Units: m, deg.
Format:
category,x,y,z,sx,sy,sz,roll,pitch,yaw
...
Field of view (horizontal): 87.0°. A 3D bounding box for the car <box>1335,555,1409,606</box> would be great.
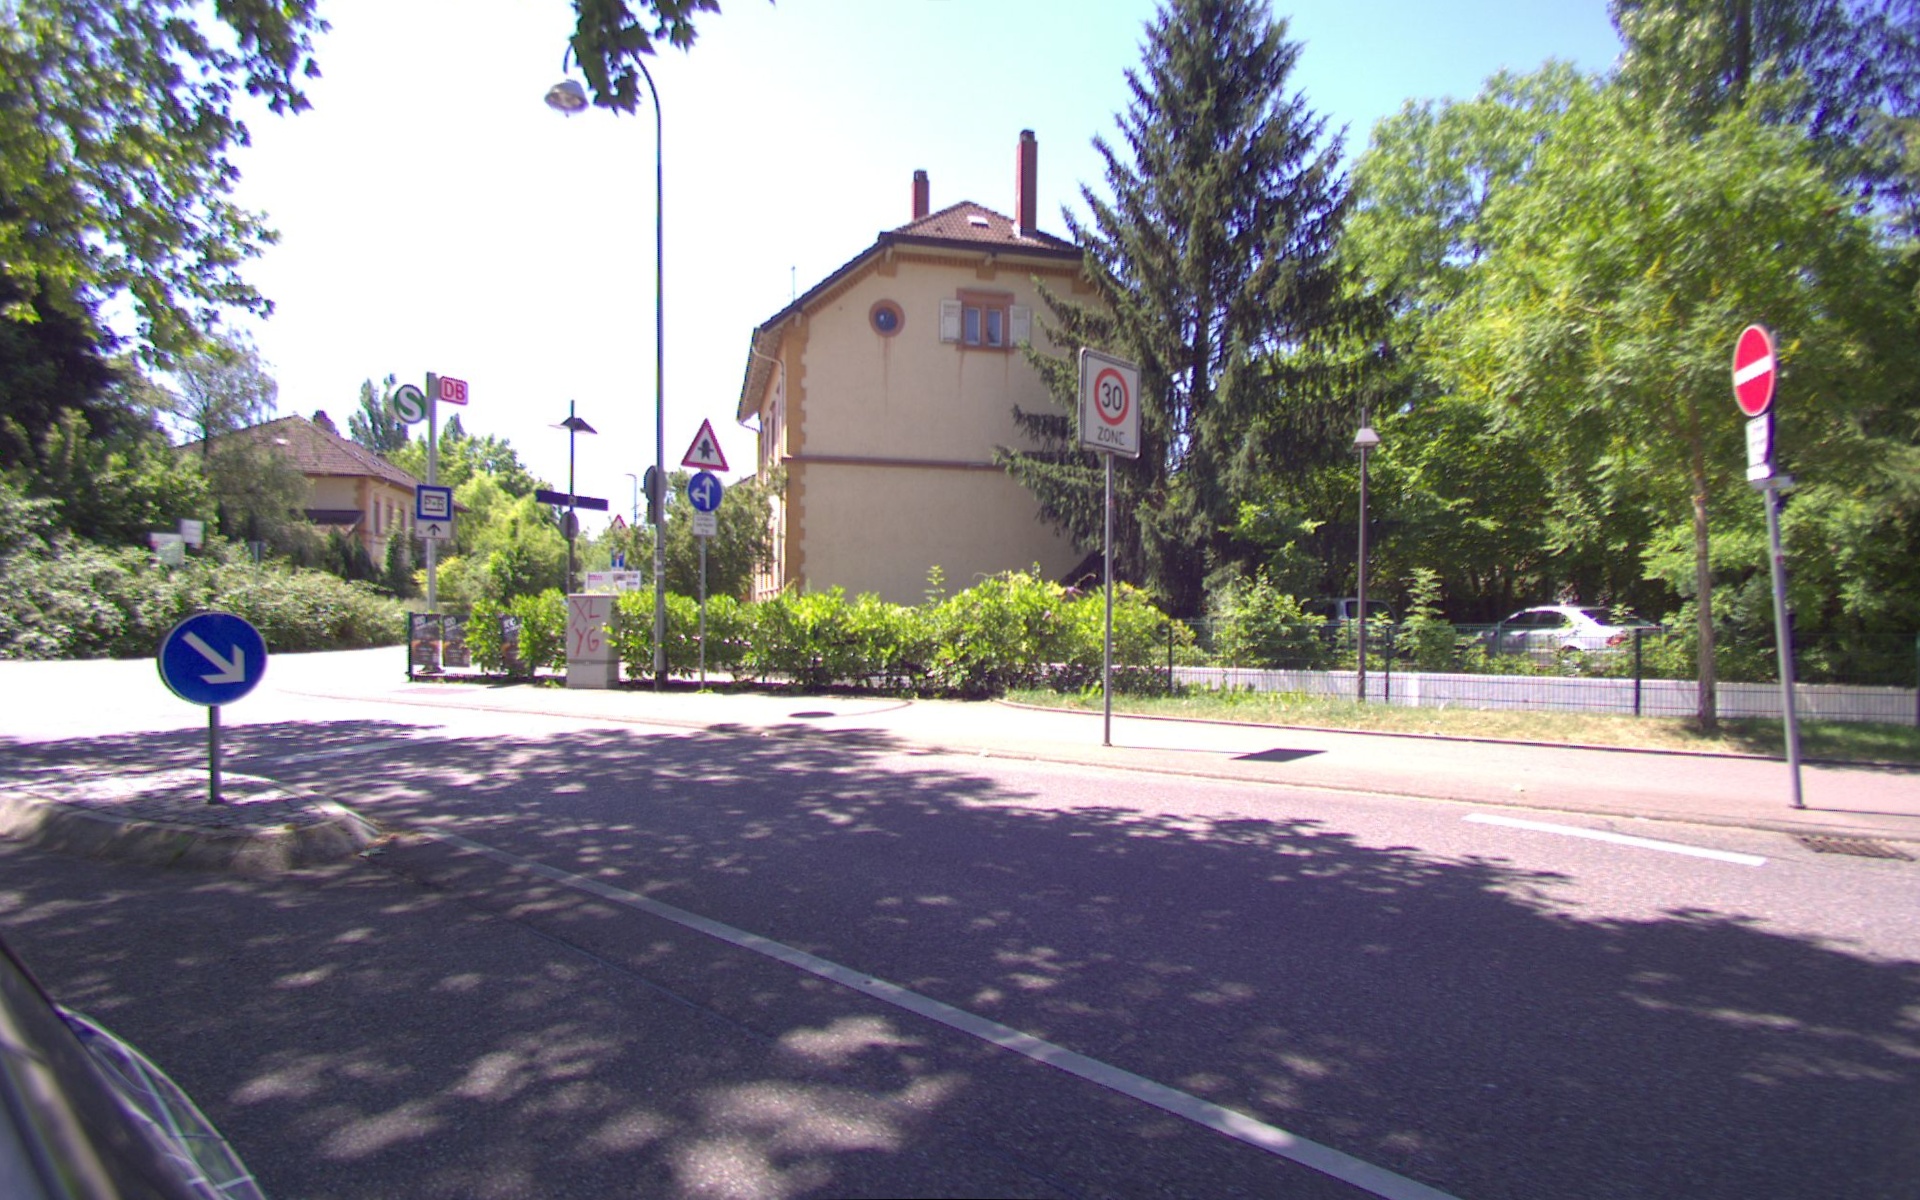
category,x,y,z,sx,sy,sz,roll,pitch,yaw
car,14.766,-0.650,36.462,1.764,1.719,3.531,0,-1,10
